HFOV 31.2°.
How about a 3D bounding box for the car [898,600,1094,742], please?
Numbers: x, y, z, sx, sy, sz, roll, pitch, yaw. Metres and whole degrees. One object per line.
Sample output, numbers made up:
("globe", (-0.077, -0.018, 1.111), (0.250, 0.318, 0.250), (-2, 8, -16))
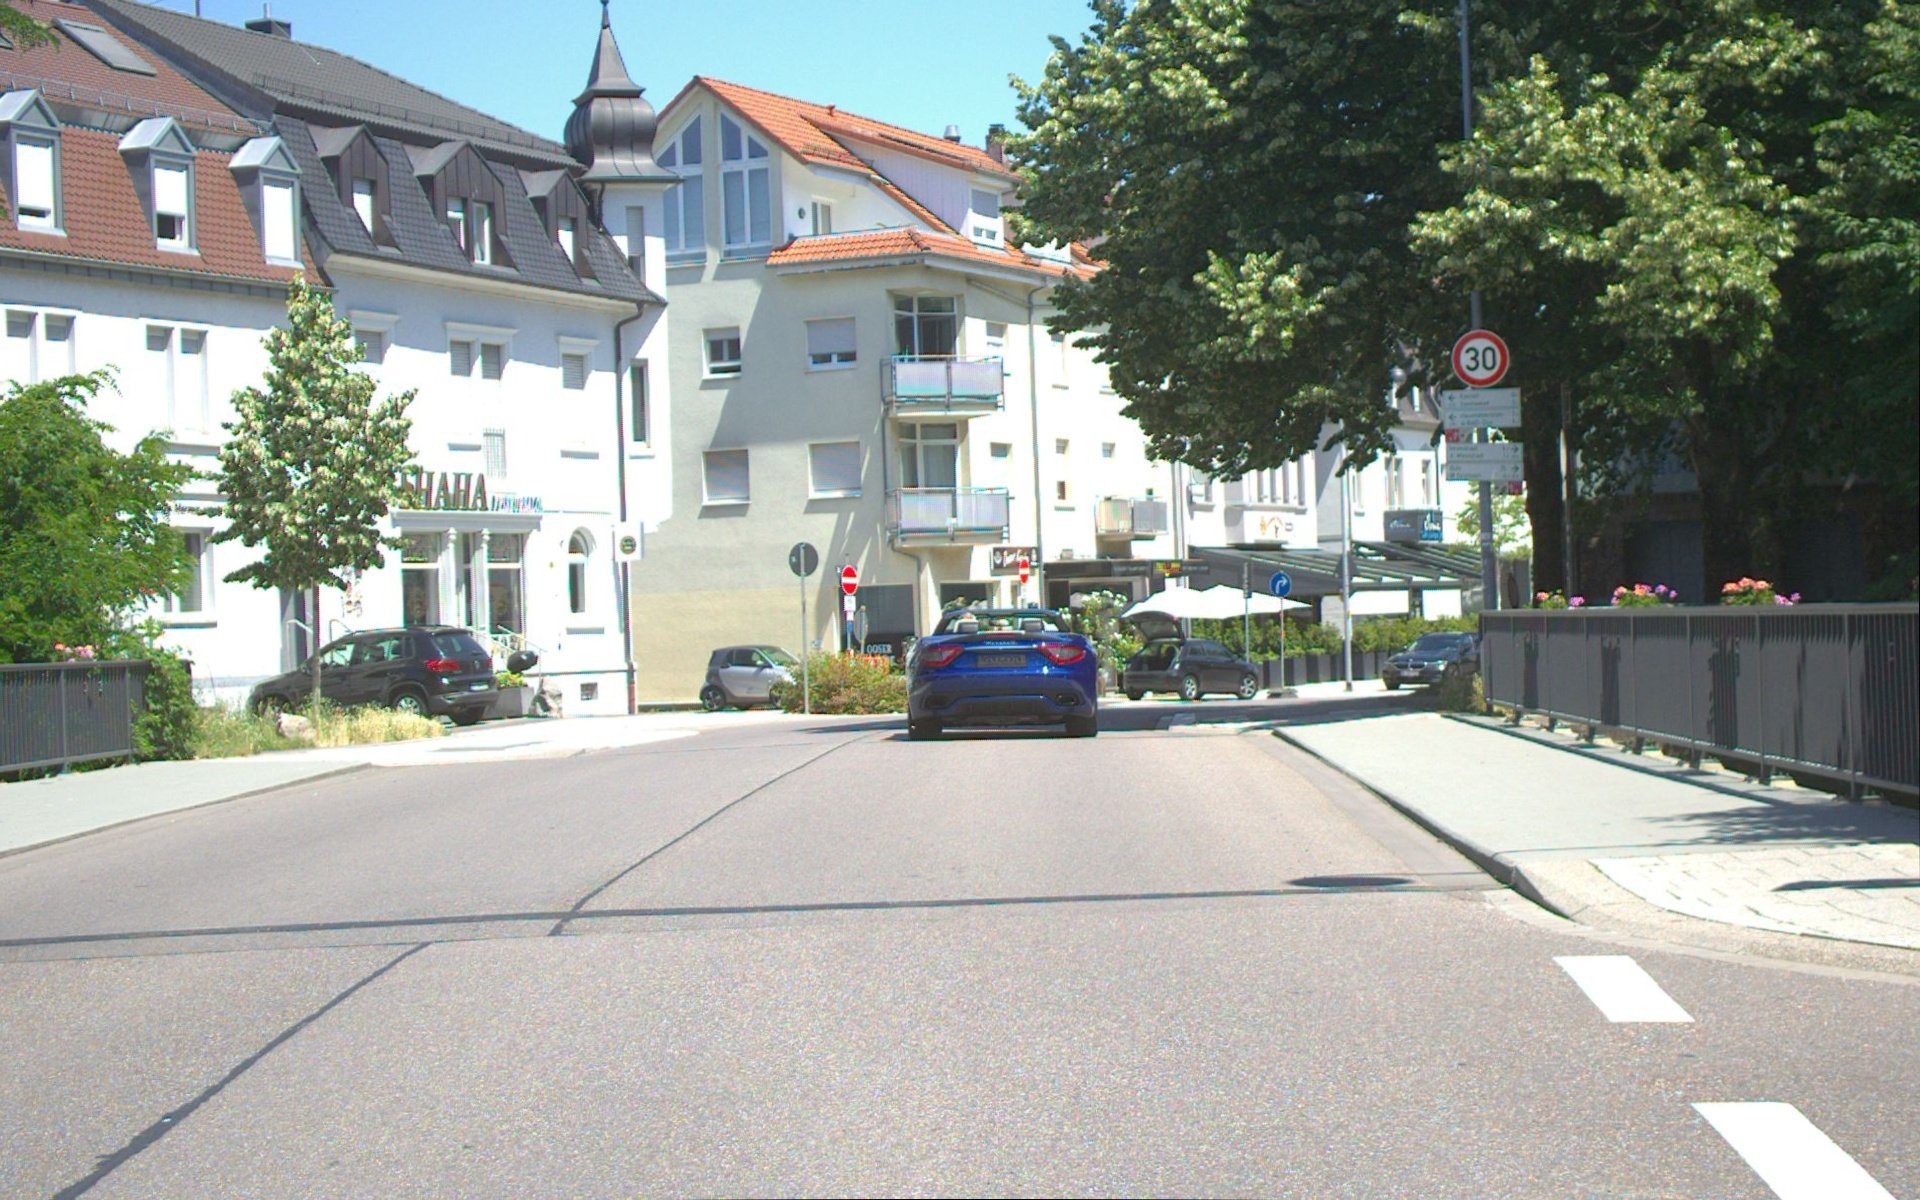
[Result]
("car", (0.391, 0.692, 35.337), (1.870, 1.338, 4.596), (-1, 0, 1))

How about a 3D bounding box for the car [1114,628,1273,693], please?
("car", (5.468, 1.395, 80.246), (1.716, 1.456, 4.120), (0, 0, 37))

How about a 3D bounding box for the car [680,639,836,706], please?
("car", (-4.812, 1.719, 81.899), (3.266, 1.453, 1.690), (-2, -1, 23))

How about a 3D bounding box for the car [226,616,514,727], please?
("car", (-9.611, 1.167, 56.041), (4.185, 1.657, 1.968), (-2, -1, 23))

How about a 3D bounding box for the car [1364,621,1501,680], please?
("car", (12.248, 1.295, 88.901), (1.837, 1.425, 4.775), (-1, 0, 30))
